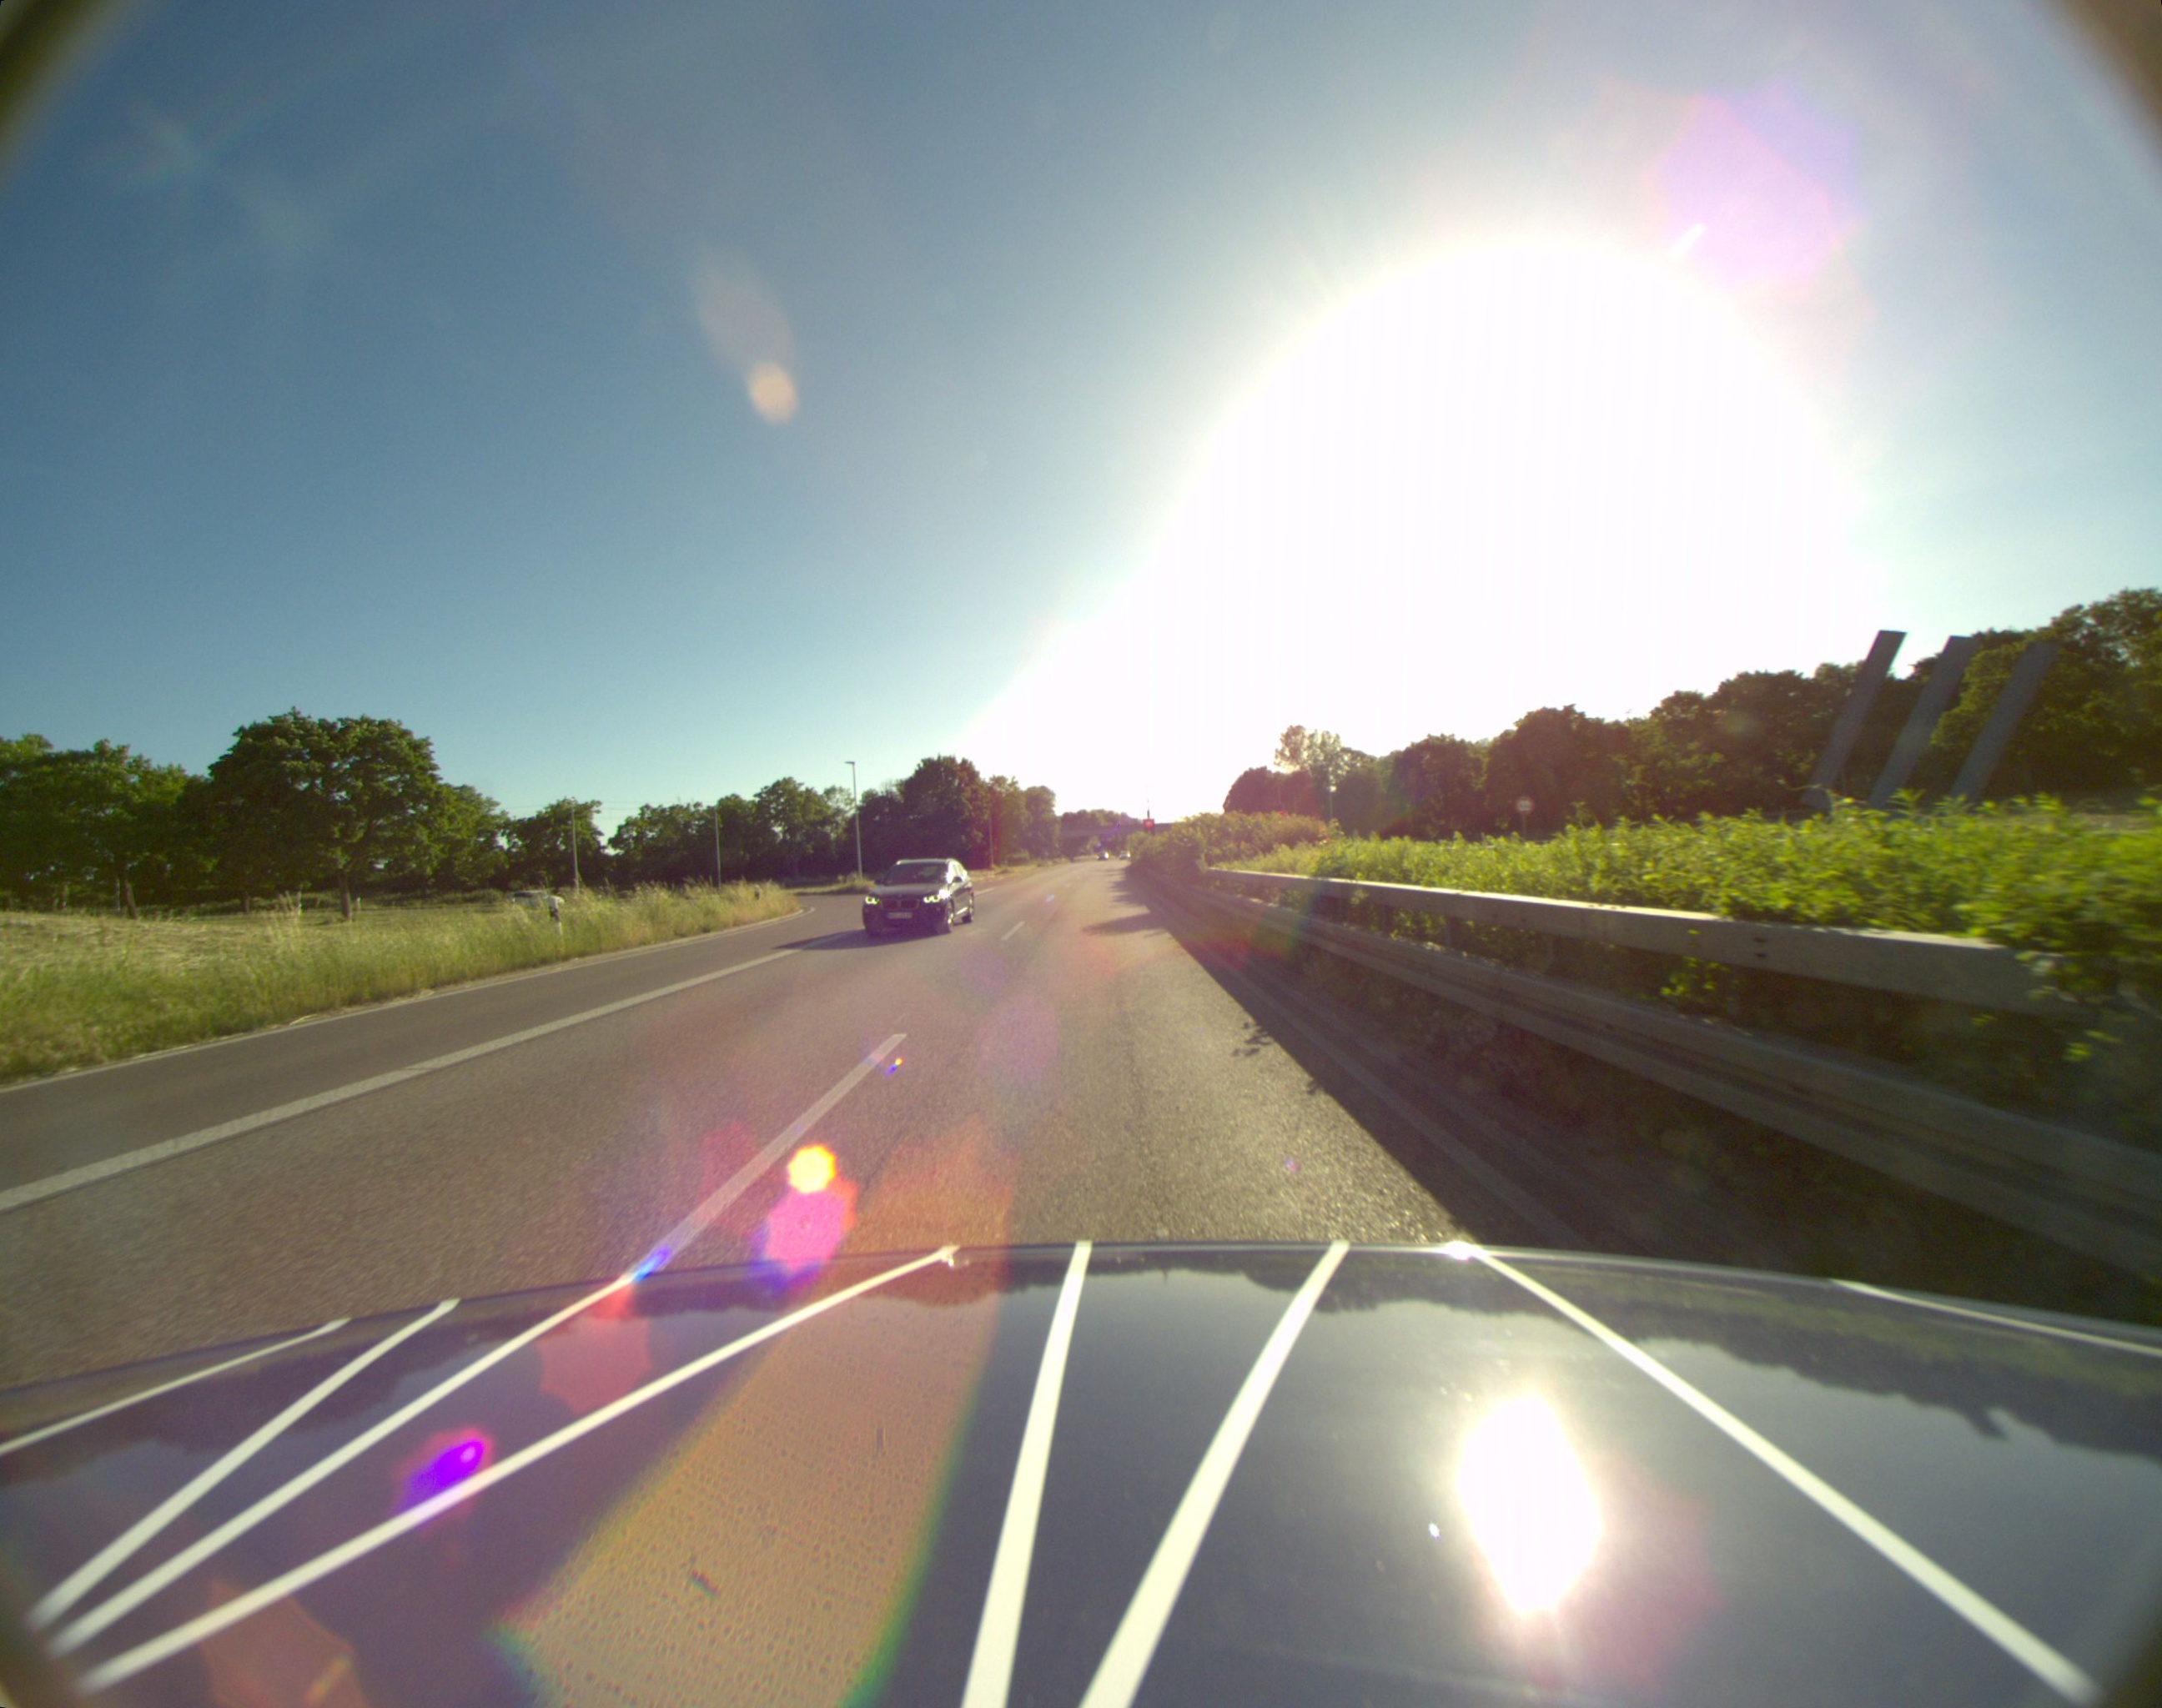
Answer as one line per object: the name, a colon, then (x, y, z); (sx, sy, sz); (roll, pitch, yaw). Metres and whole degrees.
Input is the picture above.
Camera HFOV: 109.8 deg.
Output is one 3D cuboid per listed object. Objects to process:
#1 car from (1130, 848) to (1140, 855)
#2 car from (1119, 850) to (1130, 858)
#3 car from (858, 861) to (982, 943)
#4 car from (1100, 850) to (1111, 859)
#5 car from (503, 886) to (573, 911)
car: (11.433, -0.488, 160.786); (1.724, 1.412, 3.671); (-3, 0, 7)
car: (7.607, -0.010, 132.102); (1.725, 1.412, 3.670); (-3, 0, 4)
car: (-3.596, 1.003, 17.819); (1.759, 1.564, 4.521); (-2, 0, 2)
car: (4.386, 0.089, 134.850); (1.682, 1.412, 3.671); (-3, 0, 6)
car: (-42.099, 3.419, 58.971); (3.996, 1.681, 1.869); (-2, 0, 2)
